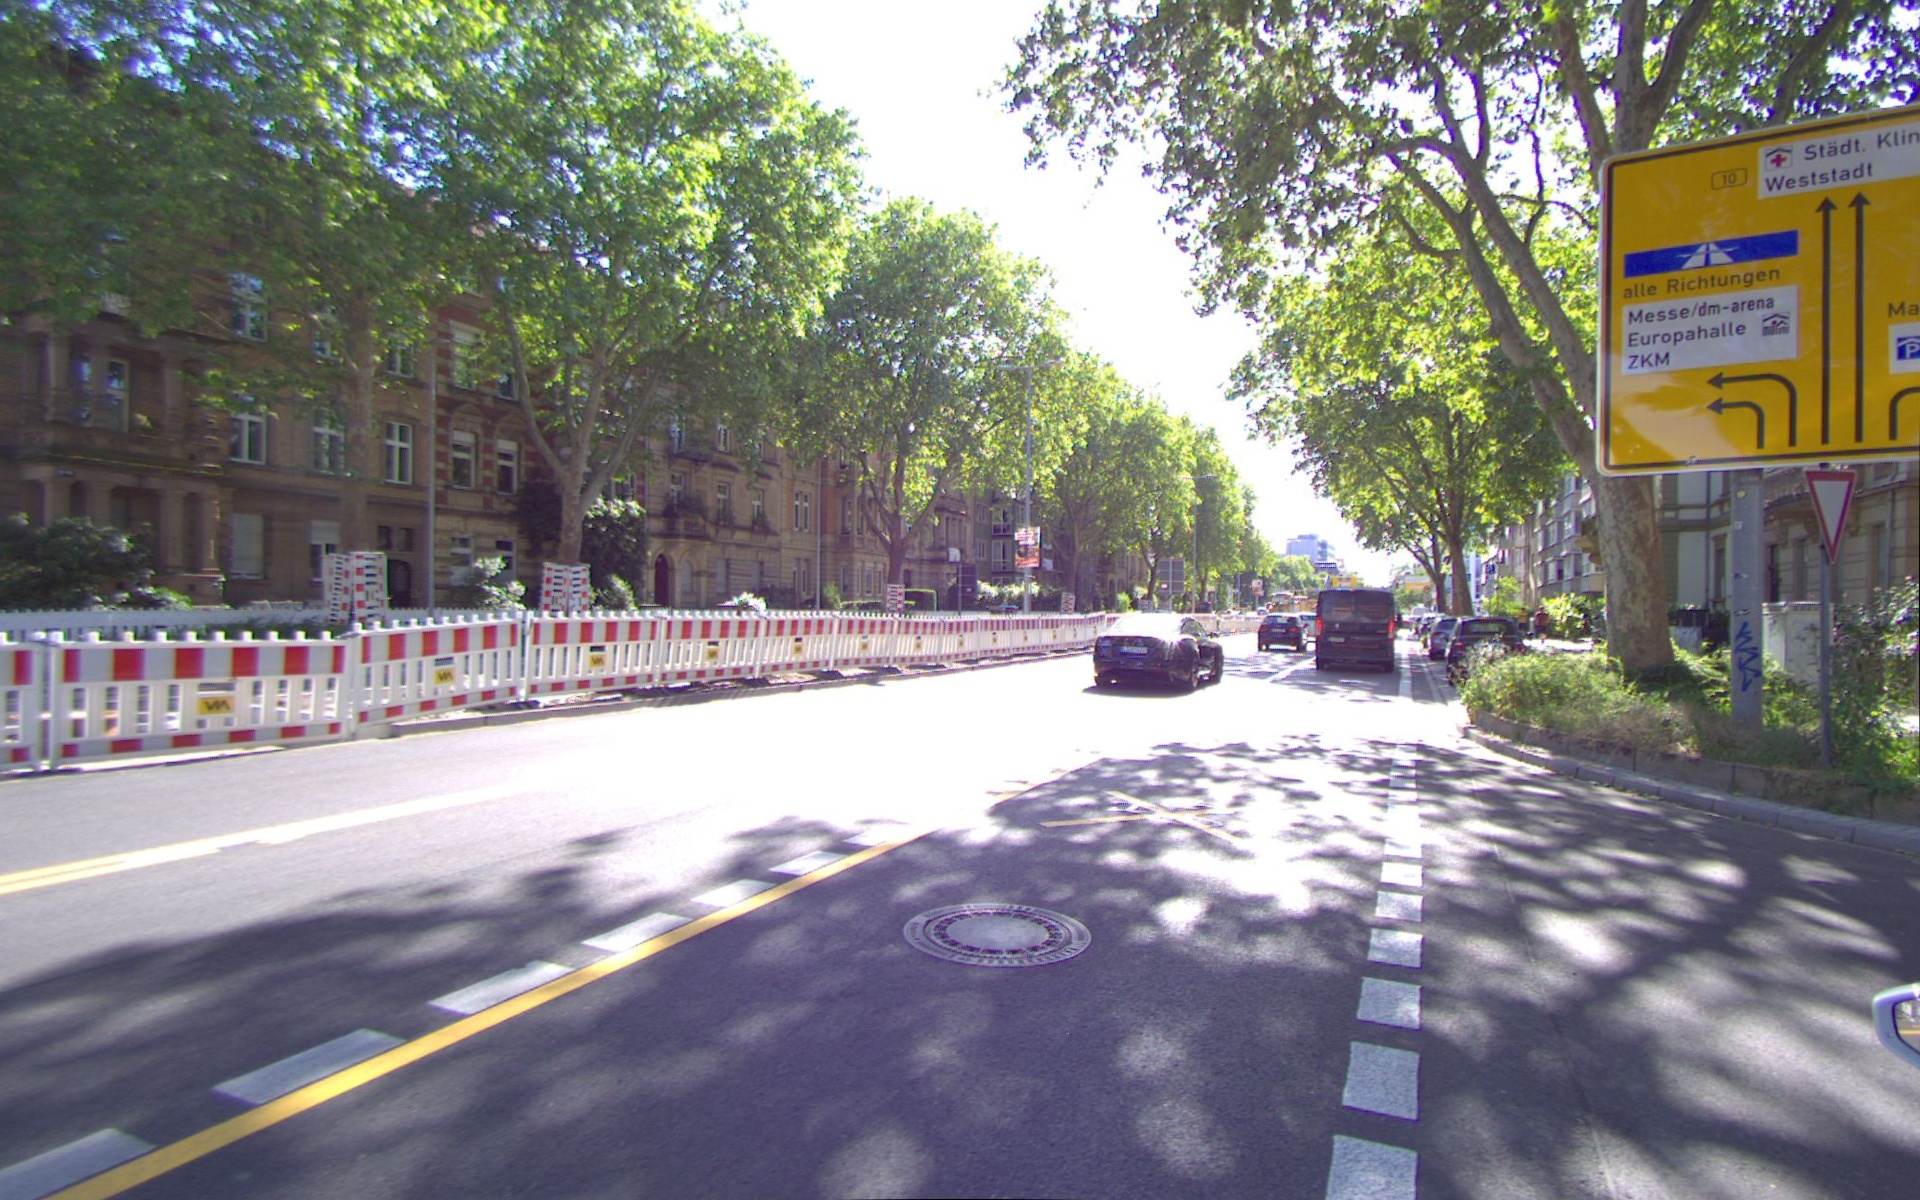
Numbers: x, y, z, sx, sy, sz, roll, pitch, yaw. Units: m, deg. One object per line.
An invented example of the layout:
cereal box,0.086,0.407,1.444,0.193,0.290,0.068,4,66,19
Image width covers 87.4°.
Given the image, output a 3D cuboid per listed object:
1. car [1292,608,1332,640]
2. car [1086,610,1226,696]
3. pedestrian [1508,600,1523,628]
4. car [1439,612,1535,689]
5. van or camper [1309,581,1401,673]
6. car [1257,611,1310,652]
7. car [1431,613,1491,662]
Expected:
car,17.948,1.212,51.070,1.594,1.505,3.731,2,0,24
car,4.099,0.982,20.429,1.808,1.503,4.473,1,0,24
pedestrian,48.706,1.207,88.061,1.041,2.377,0.815,2,0,27
car,12.028,1.092,23.141,1.745,1.589,3.997,0,-1,25
van or camper,11.251,0.730,28.567,2.209,2.377,4.536,1,0,23
car,12.778,1.216,39.565,1.594,1.505,3.731,2,0,24
car,17.211,1.253,34.576,1.745,1.589,3.996,0,-1,26
